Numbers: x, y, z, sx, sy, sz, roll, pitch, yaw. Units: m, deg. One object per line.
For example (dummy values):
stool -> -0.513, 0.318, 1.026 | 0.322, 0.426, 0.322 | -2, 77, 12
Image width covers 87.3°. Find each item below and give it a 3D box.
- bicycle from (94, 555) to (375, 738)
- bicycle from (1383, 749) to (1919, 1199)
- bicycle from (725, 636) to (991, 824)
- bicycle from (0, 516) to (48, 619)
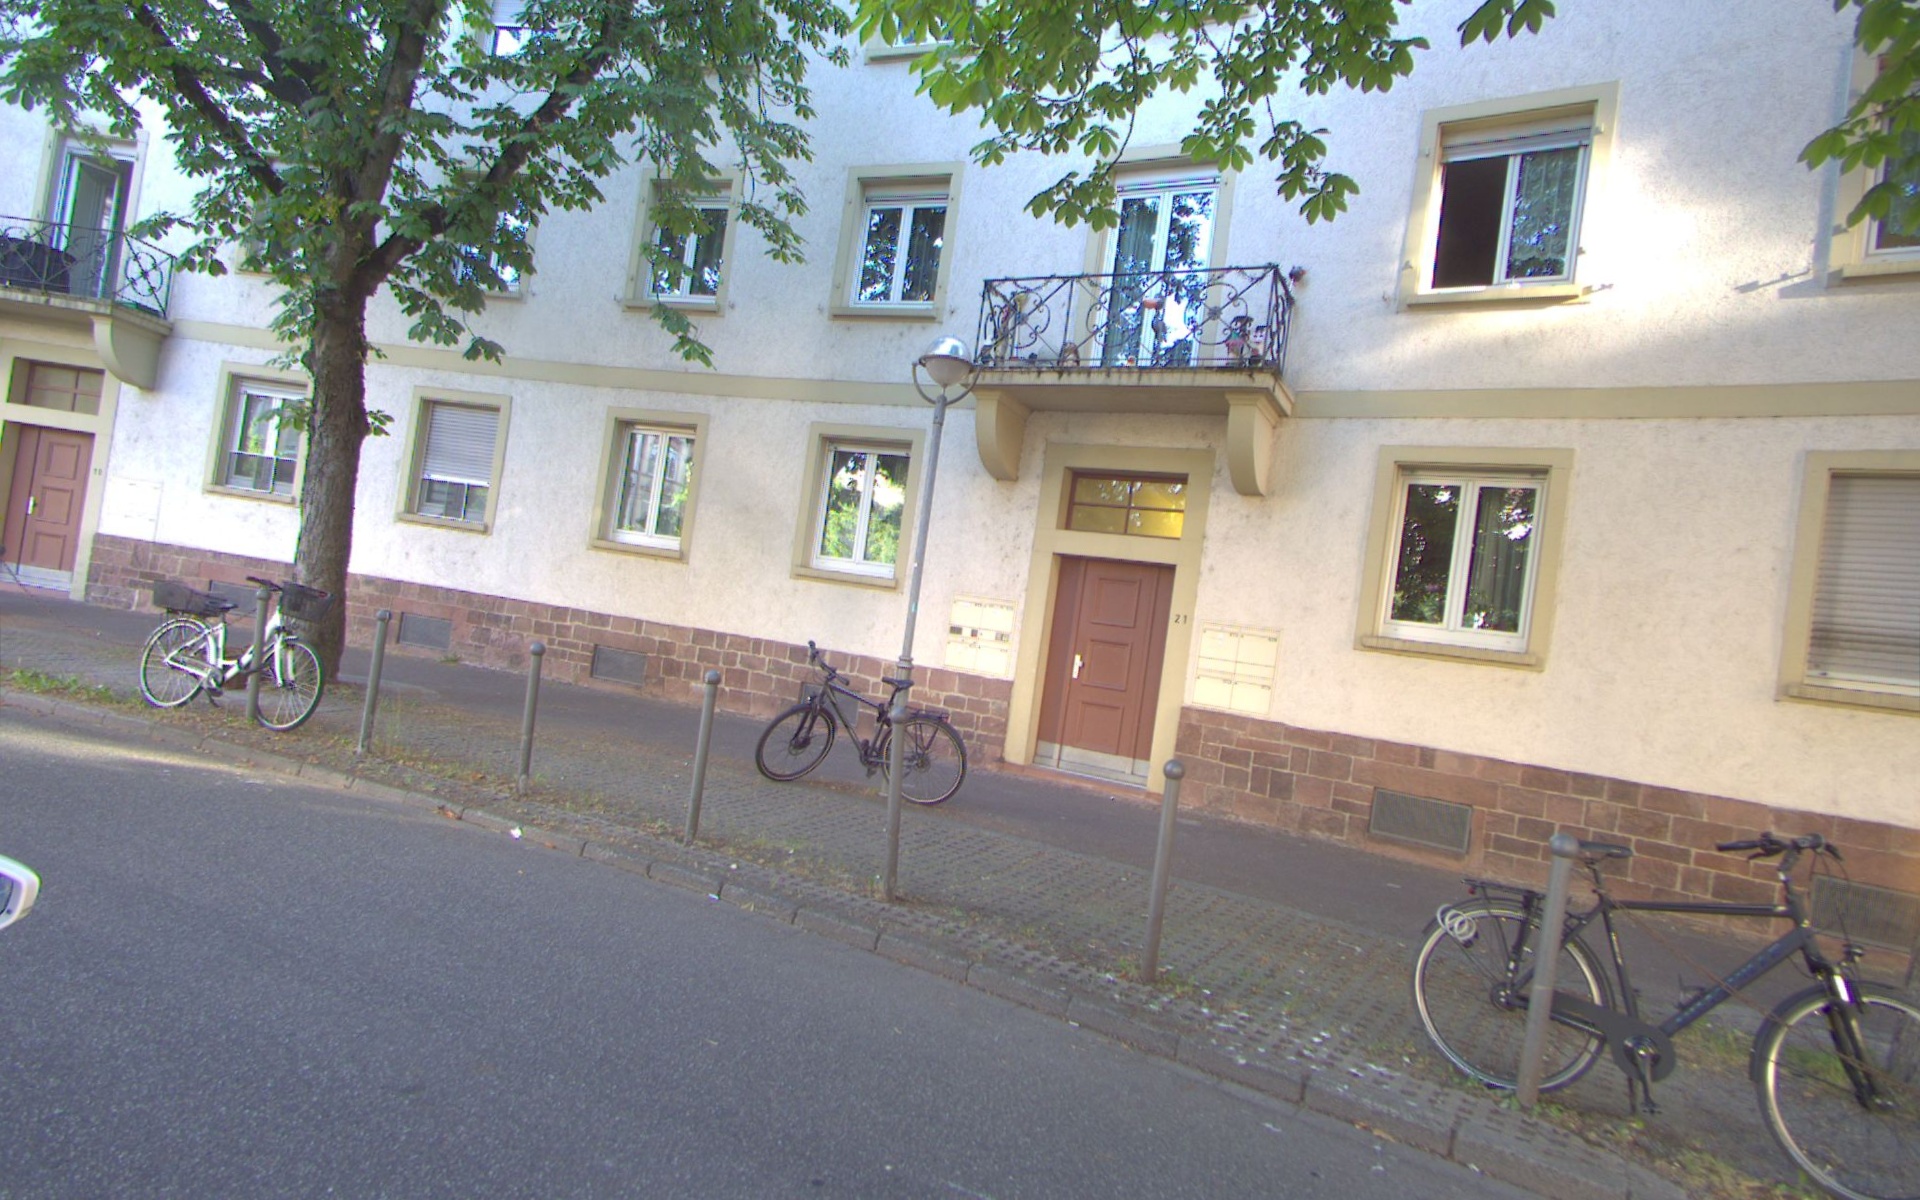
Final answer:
bicycle -> -5.641, 0.343, 7.826 | 1.936, 1.109, 0.514 | 8, 0, 12
bicycle -> 2.648, 1.329, 3.625 | 1.881, 1.237, 0.719 | 7, -1, 29
bicycle -> -0.773, 0.992, 7.986 | 1.823, 1.131, 0.804 | 8, -1, 8
bicycle -> -11.682, -0.498, 11.565 | 1.929, 1.120, 0.670 | 8, -2, 13
